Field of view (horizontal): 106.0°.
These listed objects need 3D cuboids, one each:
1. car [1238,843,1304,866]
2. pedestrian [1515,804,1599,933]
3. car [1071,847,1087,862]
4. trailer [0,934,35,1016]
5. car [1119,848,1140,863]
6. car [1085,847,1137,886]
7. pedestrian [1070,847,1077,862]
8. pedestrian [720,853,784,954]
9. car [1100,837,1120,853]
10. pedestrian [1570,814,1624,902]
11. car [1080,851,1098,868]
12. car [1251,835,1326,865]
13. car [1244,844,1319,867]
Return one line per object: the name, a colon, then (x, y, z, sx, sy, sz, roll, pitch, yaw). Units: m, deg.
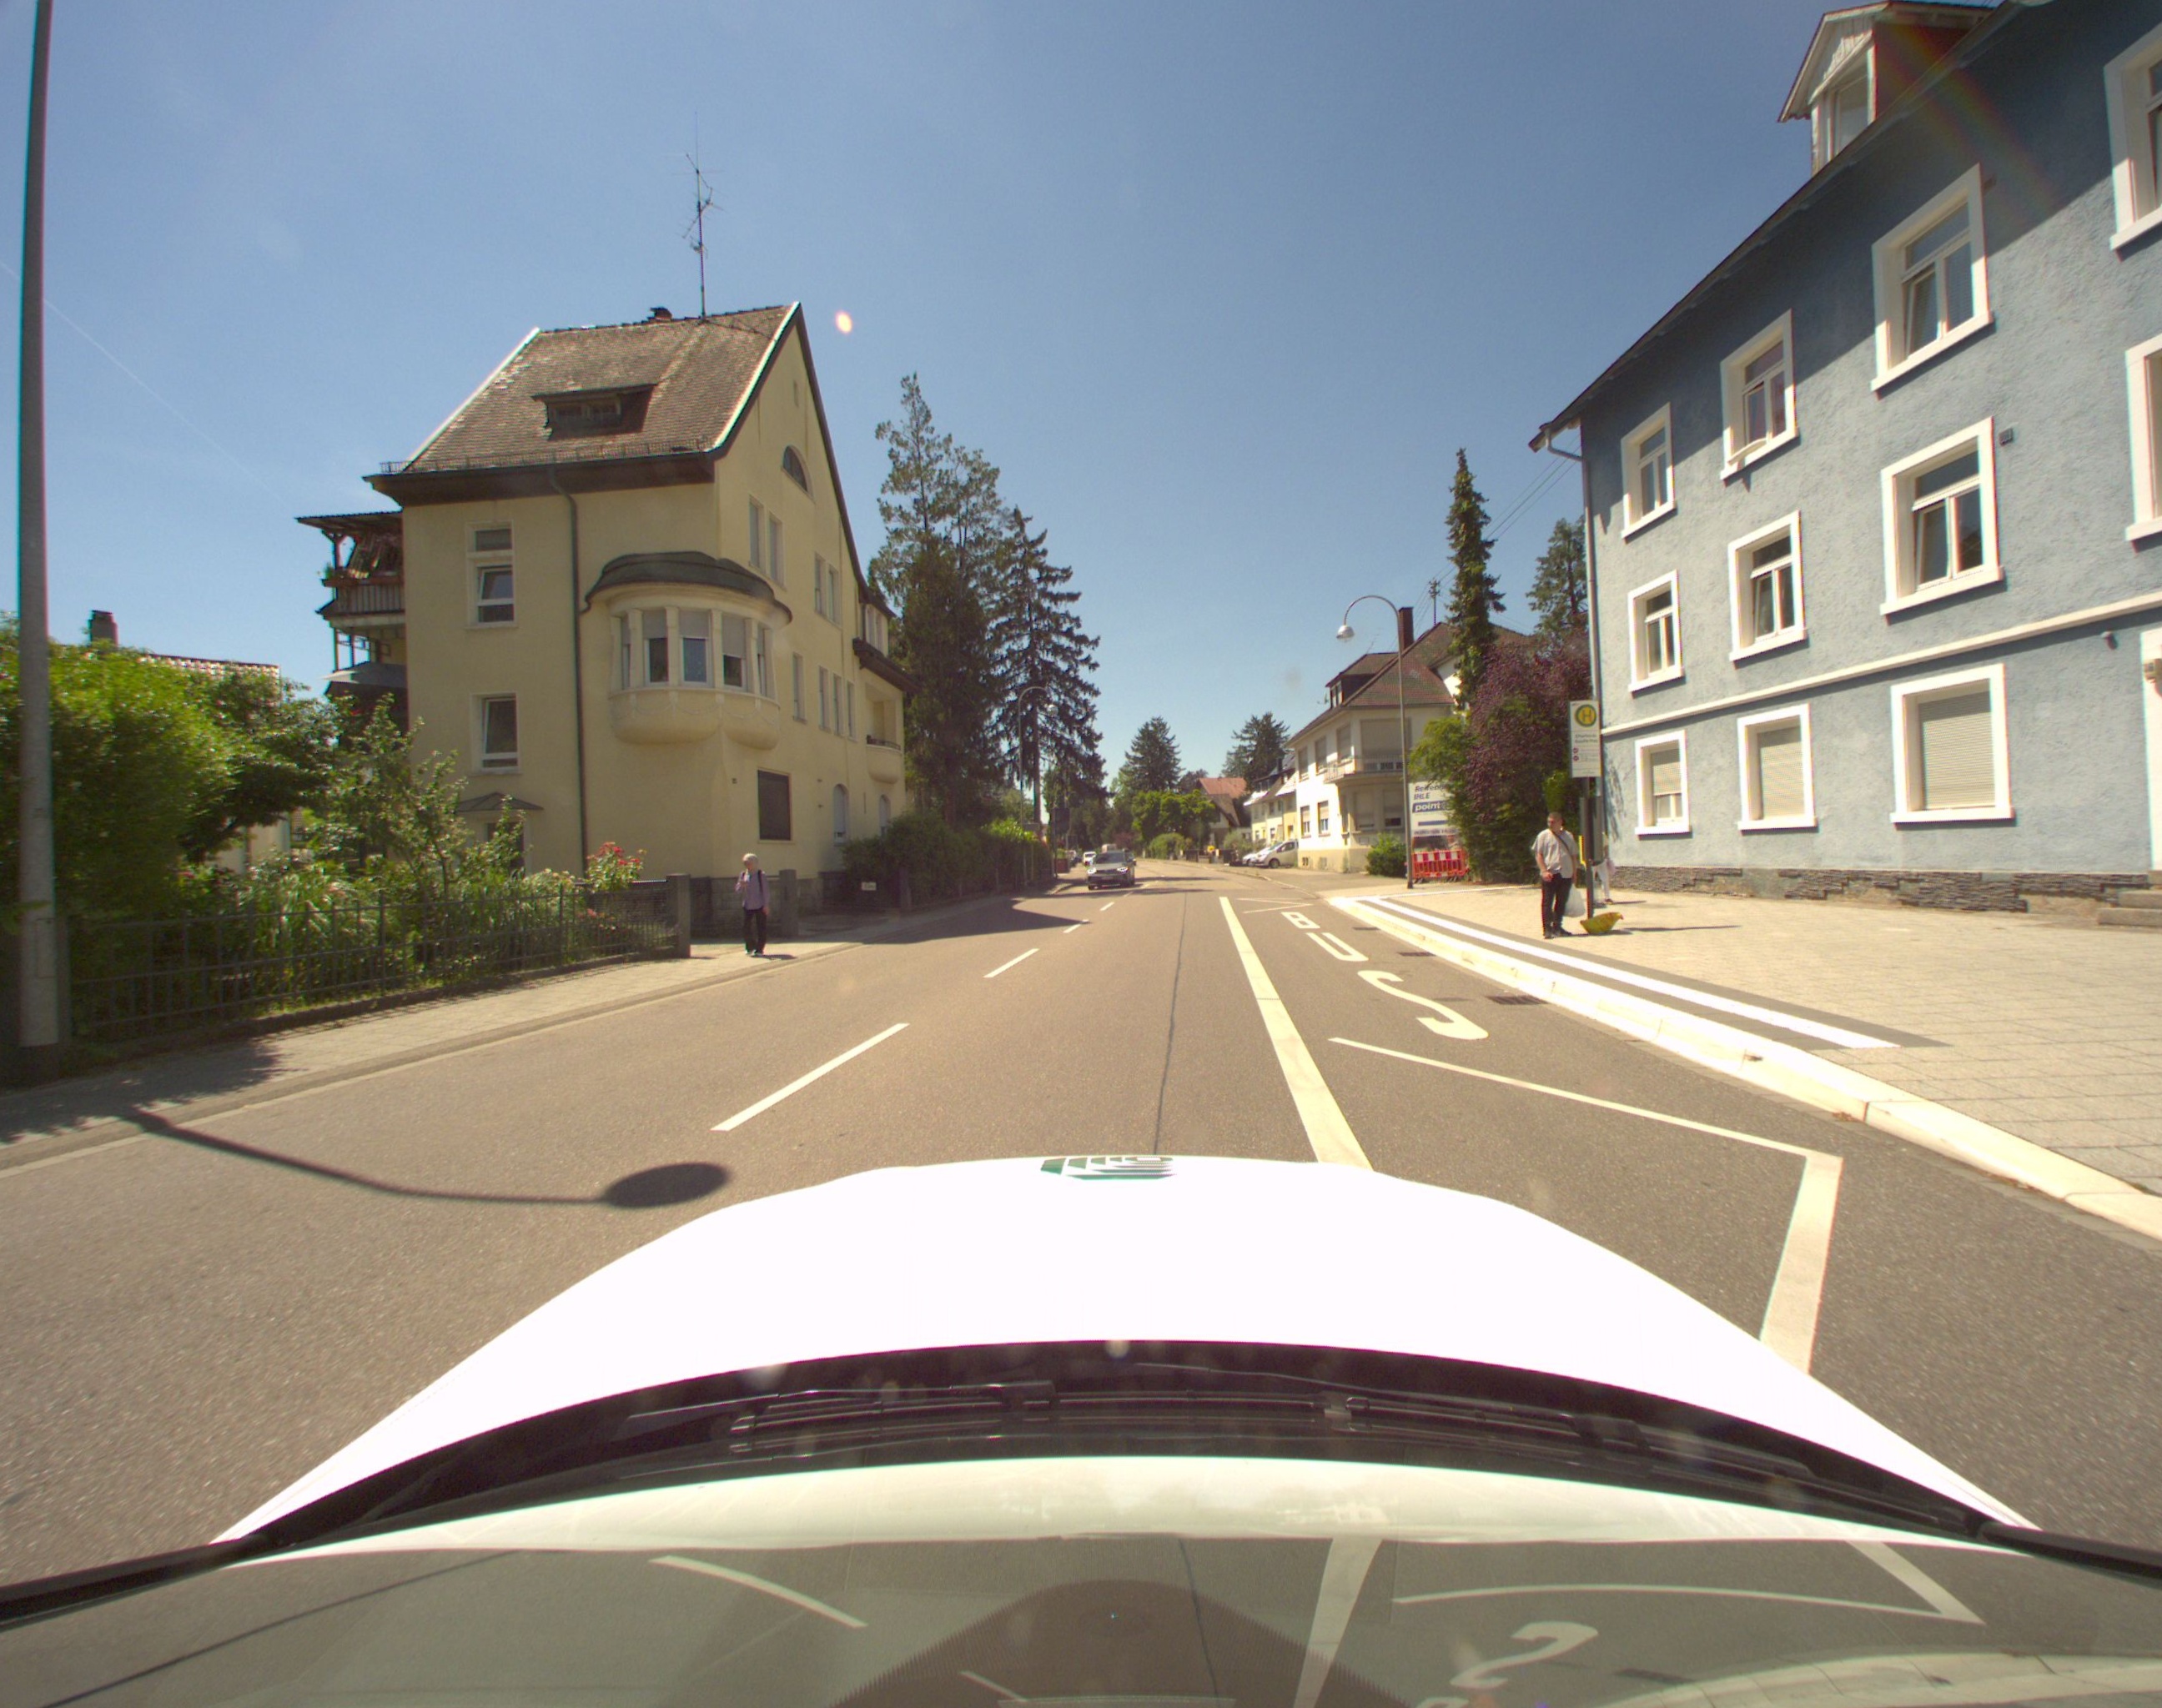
car: (13.449, 0.046, 57.738, 4.249, 1.548, 1.767, 0, -1, 33)
pedestrian: (7.068, 0.214, 12.127, 0.612, 1.805, 0.750, -5, -1, -3)
car: (-0.249, 0.054, 102.181, 1.719, 1.736, 3.883, -4, 0, -2)
trailer: (-12.664, 1.413, 8.626, 1.366, 0.860, 2.784, -1, -1, -40)
car: (5.111, 0.141, 86.186, 1.801, 1.488, 4.385, -4, 0, -1)
car: (1.408, 0.536, 36.757, 1.843, 1.616, 4.307, -1, 0, 8)
pedestrian: (-0.954, 0.054, 100.380, 0.686, 1.889, 1.019, 3, -1, 3)
pedestrian: (-5.242, 0.763, 13.005, 0.610, 1.564, 0.825, 1, 0, 6)
car: (4.601, -1.470, 130.020, 2.142, 2.315, 4.839, -4, 1, -8)
pedestrian: (9.943, 0.072, 15.717, 0.609, 1.616, 0.754, -4, 0, 18)
car: (0.726, 0.485, 75.614, 1.573, 1.423, 3.940, -4, 1, 0)
car: (13.271, -0.270, 52.202, 4.286, 1.831, 1.735, 1, 0, -7)
car: (13.489, 0.091, 54.921, 4.621, 1.409, 1.770, 1, 0, 2)
